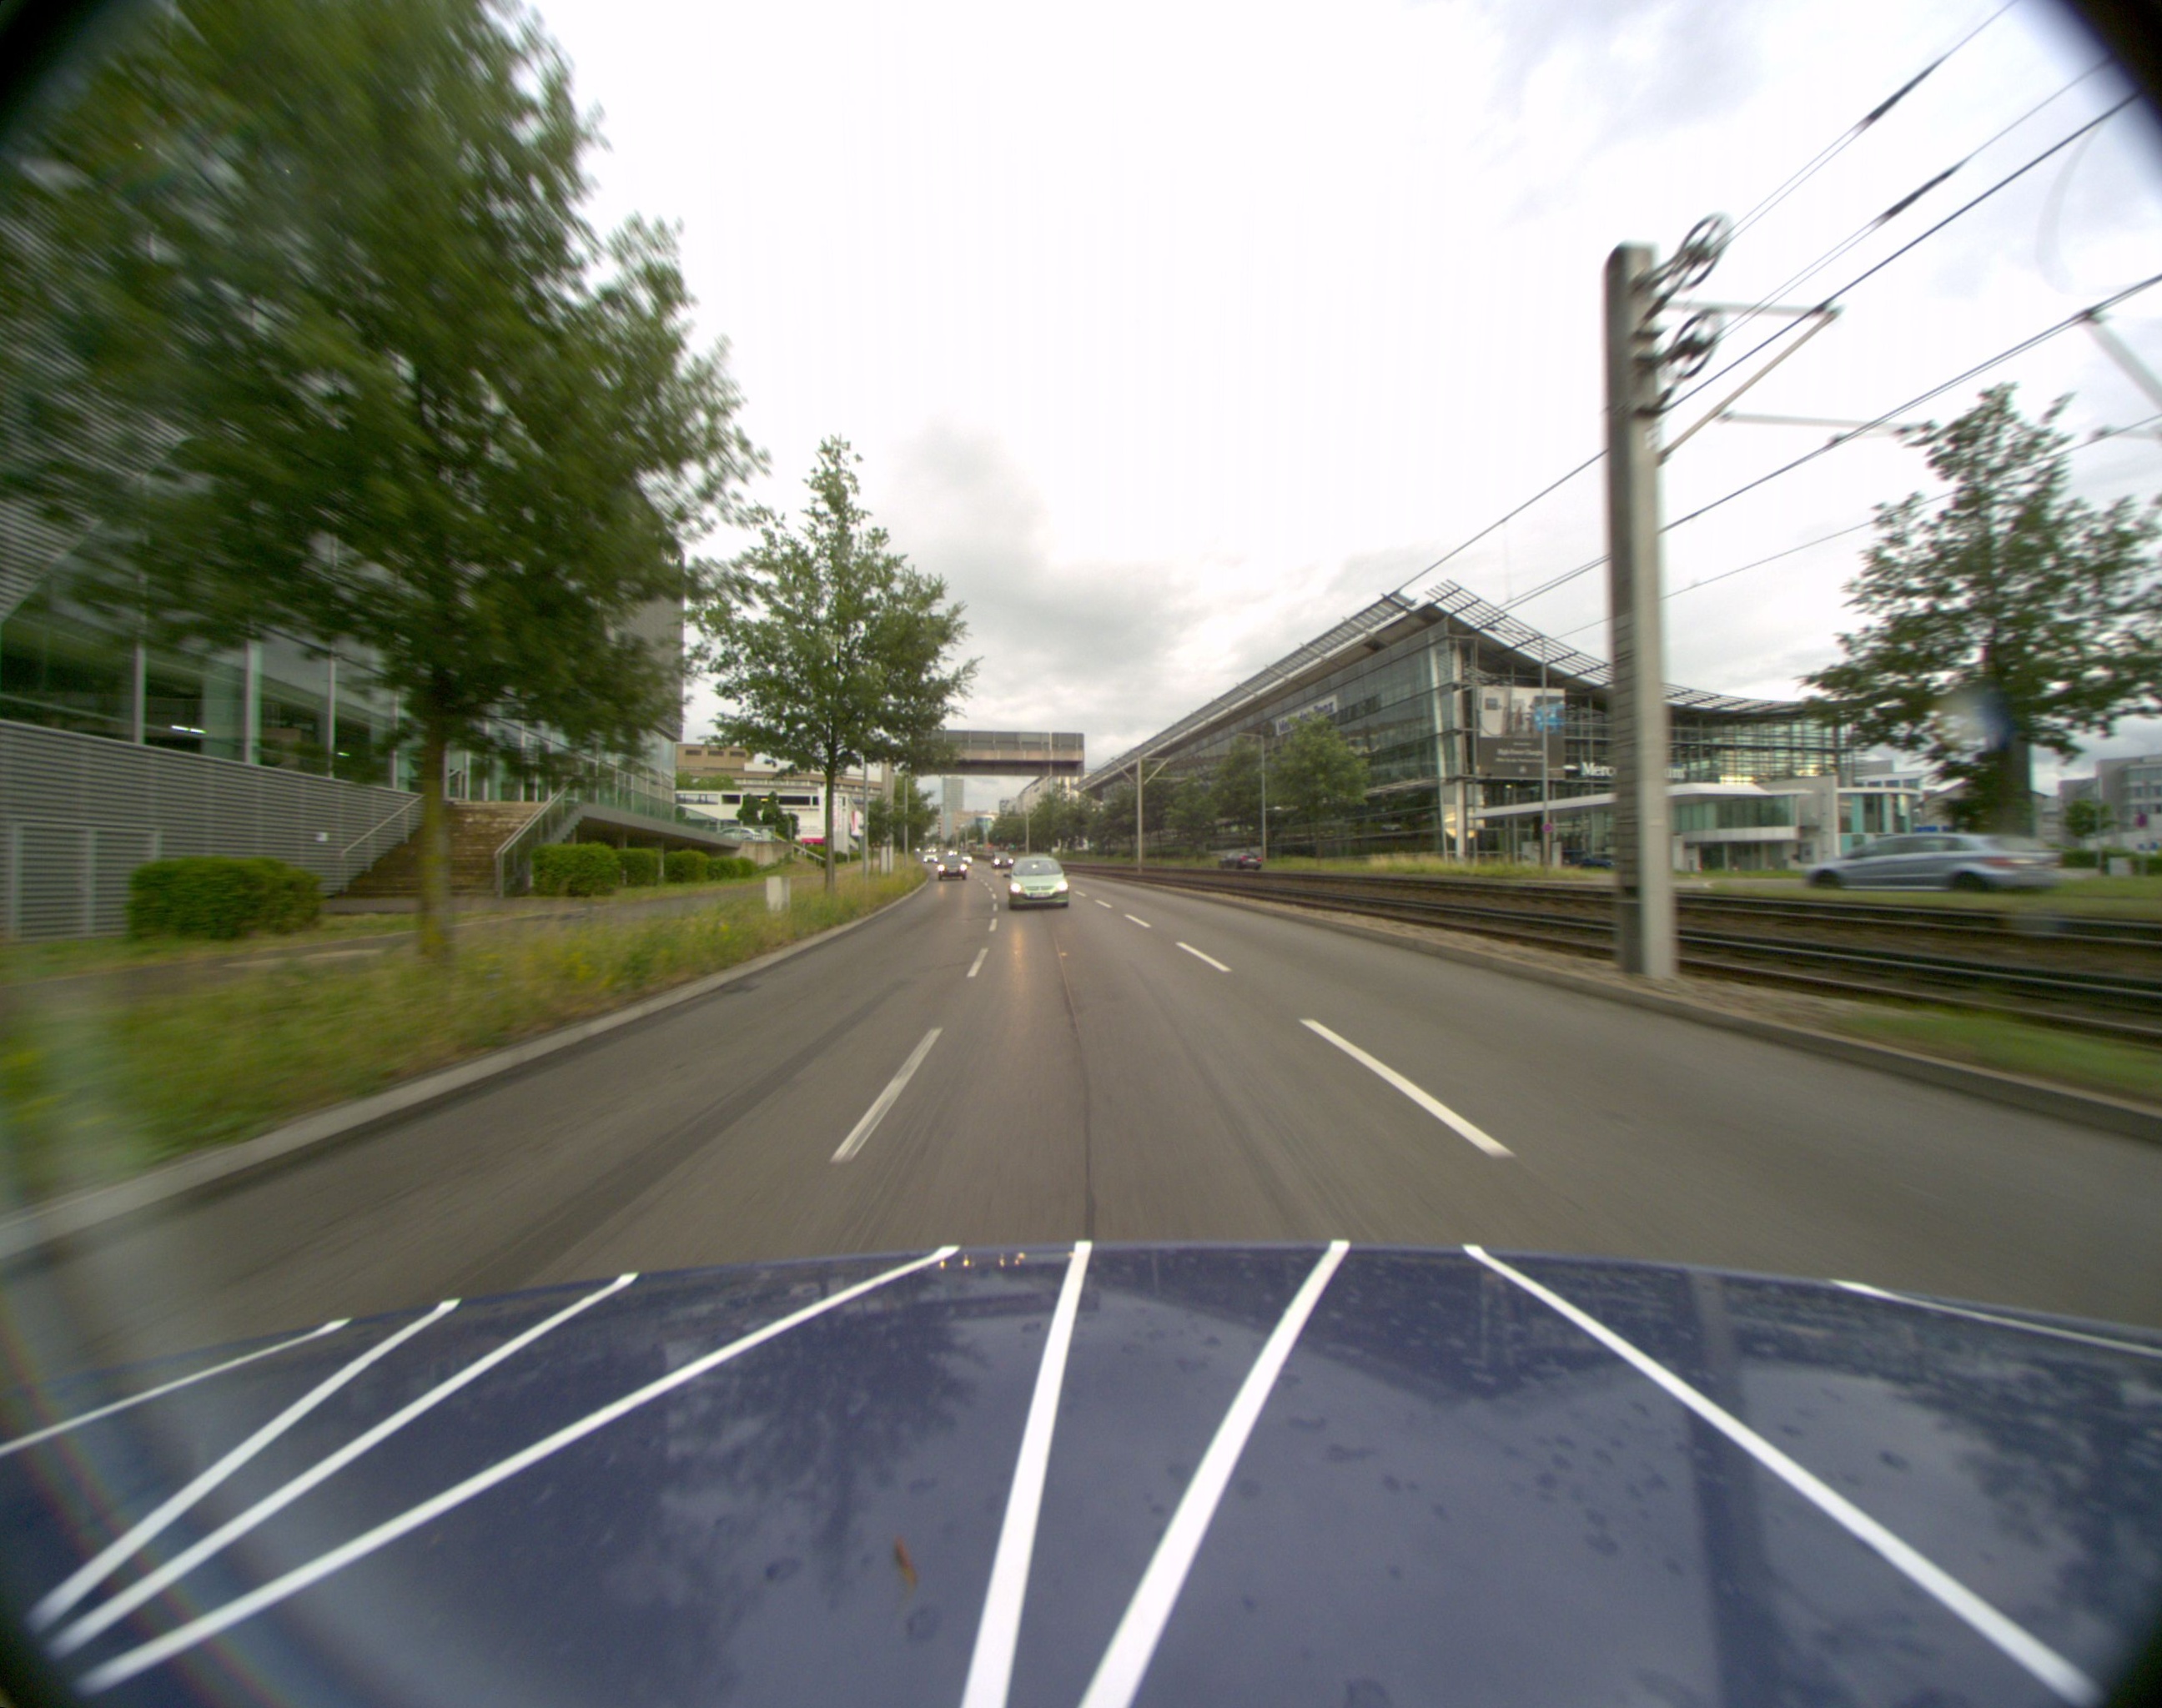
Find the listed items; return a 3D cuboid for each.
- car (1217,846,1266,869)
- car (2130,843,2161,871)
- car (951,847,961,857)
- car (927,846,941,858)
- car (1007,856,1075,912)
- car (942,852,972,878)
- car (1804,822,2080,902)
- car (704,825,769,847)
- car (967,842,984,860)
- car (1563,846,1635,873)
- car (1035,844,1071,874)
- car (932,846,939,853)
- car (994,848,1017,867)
[{"bbox_3d":[11.472,0.254,54.735,1.889,1.512,4.399,2,0,-10],"label":"car"},{"bbox_3d":[71.039,0.199,48.905,2.003,1.718,3.988,-4,3,-40],"label":"car"},{"bbox_3d":[-27.262,-0.421,165.399,2.000,2.002,3.994,-2,2,-11],"label":"car"},{"bbox_3d":[-22.293,-0.274,115.249,1.862,1.799,4.110,-2,0,-10],"label":"car"},{"bbox_3d":[-1.297,0.833,23.247,1.829,1.499,4.111,-2,0,-6],"label":"car"},{"bbox_3d":[-8.104,0.705,49.870,1.830,1.599,4.111,-2,0,-8],"label":"car"},{"bbox_3d":[20.754,0.169,18.601,2.000,1.670,3.996,-2,0,-10],"label":"car"},{"bbox_3d":[-26.571,-1.367,58.723,4.275,1.565,1.690,-1,1,-14],"label":"car"},{"bbox_3d":[-13.199,-0.409,95.078,2.000,2.002,3.995,-2,2,-9],"label":"car"},{"bbox_3d":[38.087,0.373,55.938,1.898,1.840,3.988,-4,3,-39],"label":"car"},{"bbox_3d":[-2.085,0.318,55.116,2.000,2.002,3.995,-2,2,-10],"label":"car"},{"bbox_3d":[-41.996,-1.375,219.141,2.000,1.838,3.995,-2,2,-11],"label":"car"},{"bbox_3d":[-7.645,0.344,76.593,1.862,1.799,4.110,-2,0,-10],"label":"car"}]
